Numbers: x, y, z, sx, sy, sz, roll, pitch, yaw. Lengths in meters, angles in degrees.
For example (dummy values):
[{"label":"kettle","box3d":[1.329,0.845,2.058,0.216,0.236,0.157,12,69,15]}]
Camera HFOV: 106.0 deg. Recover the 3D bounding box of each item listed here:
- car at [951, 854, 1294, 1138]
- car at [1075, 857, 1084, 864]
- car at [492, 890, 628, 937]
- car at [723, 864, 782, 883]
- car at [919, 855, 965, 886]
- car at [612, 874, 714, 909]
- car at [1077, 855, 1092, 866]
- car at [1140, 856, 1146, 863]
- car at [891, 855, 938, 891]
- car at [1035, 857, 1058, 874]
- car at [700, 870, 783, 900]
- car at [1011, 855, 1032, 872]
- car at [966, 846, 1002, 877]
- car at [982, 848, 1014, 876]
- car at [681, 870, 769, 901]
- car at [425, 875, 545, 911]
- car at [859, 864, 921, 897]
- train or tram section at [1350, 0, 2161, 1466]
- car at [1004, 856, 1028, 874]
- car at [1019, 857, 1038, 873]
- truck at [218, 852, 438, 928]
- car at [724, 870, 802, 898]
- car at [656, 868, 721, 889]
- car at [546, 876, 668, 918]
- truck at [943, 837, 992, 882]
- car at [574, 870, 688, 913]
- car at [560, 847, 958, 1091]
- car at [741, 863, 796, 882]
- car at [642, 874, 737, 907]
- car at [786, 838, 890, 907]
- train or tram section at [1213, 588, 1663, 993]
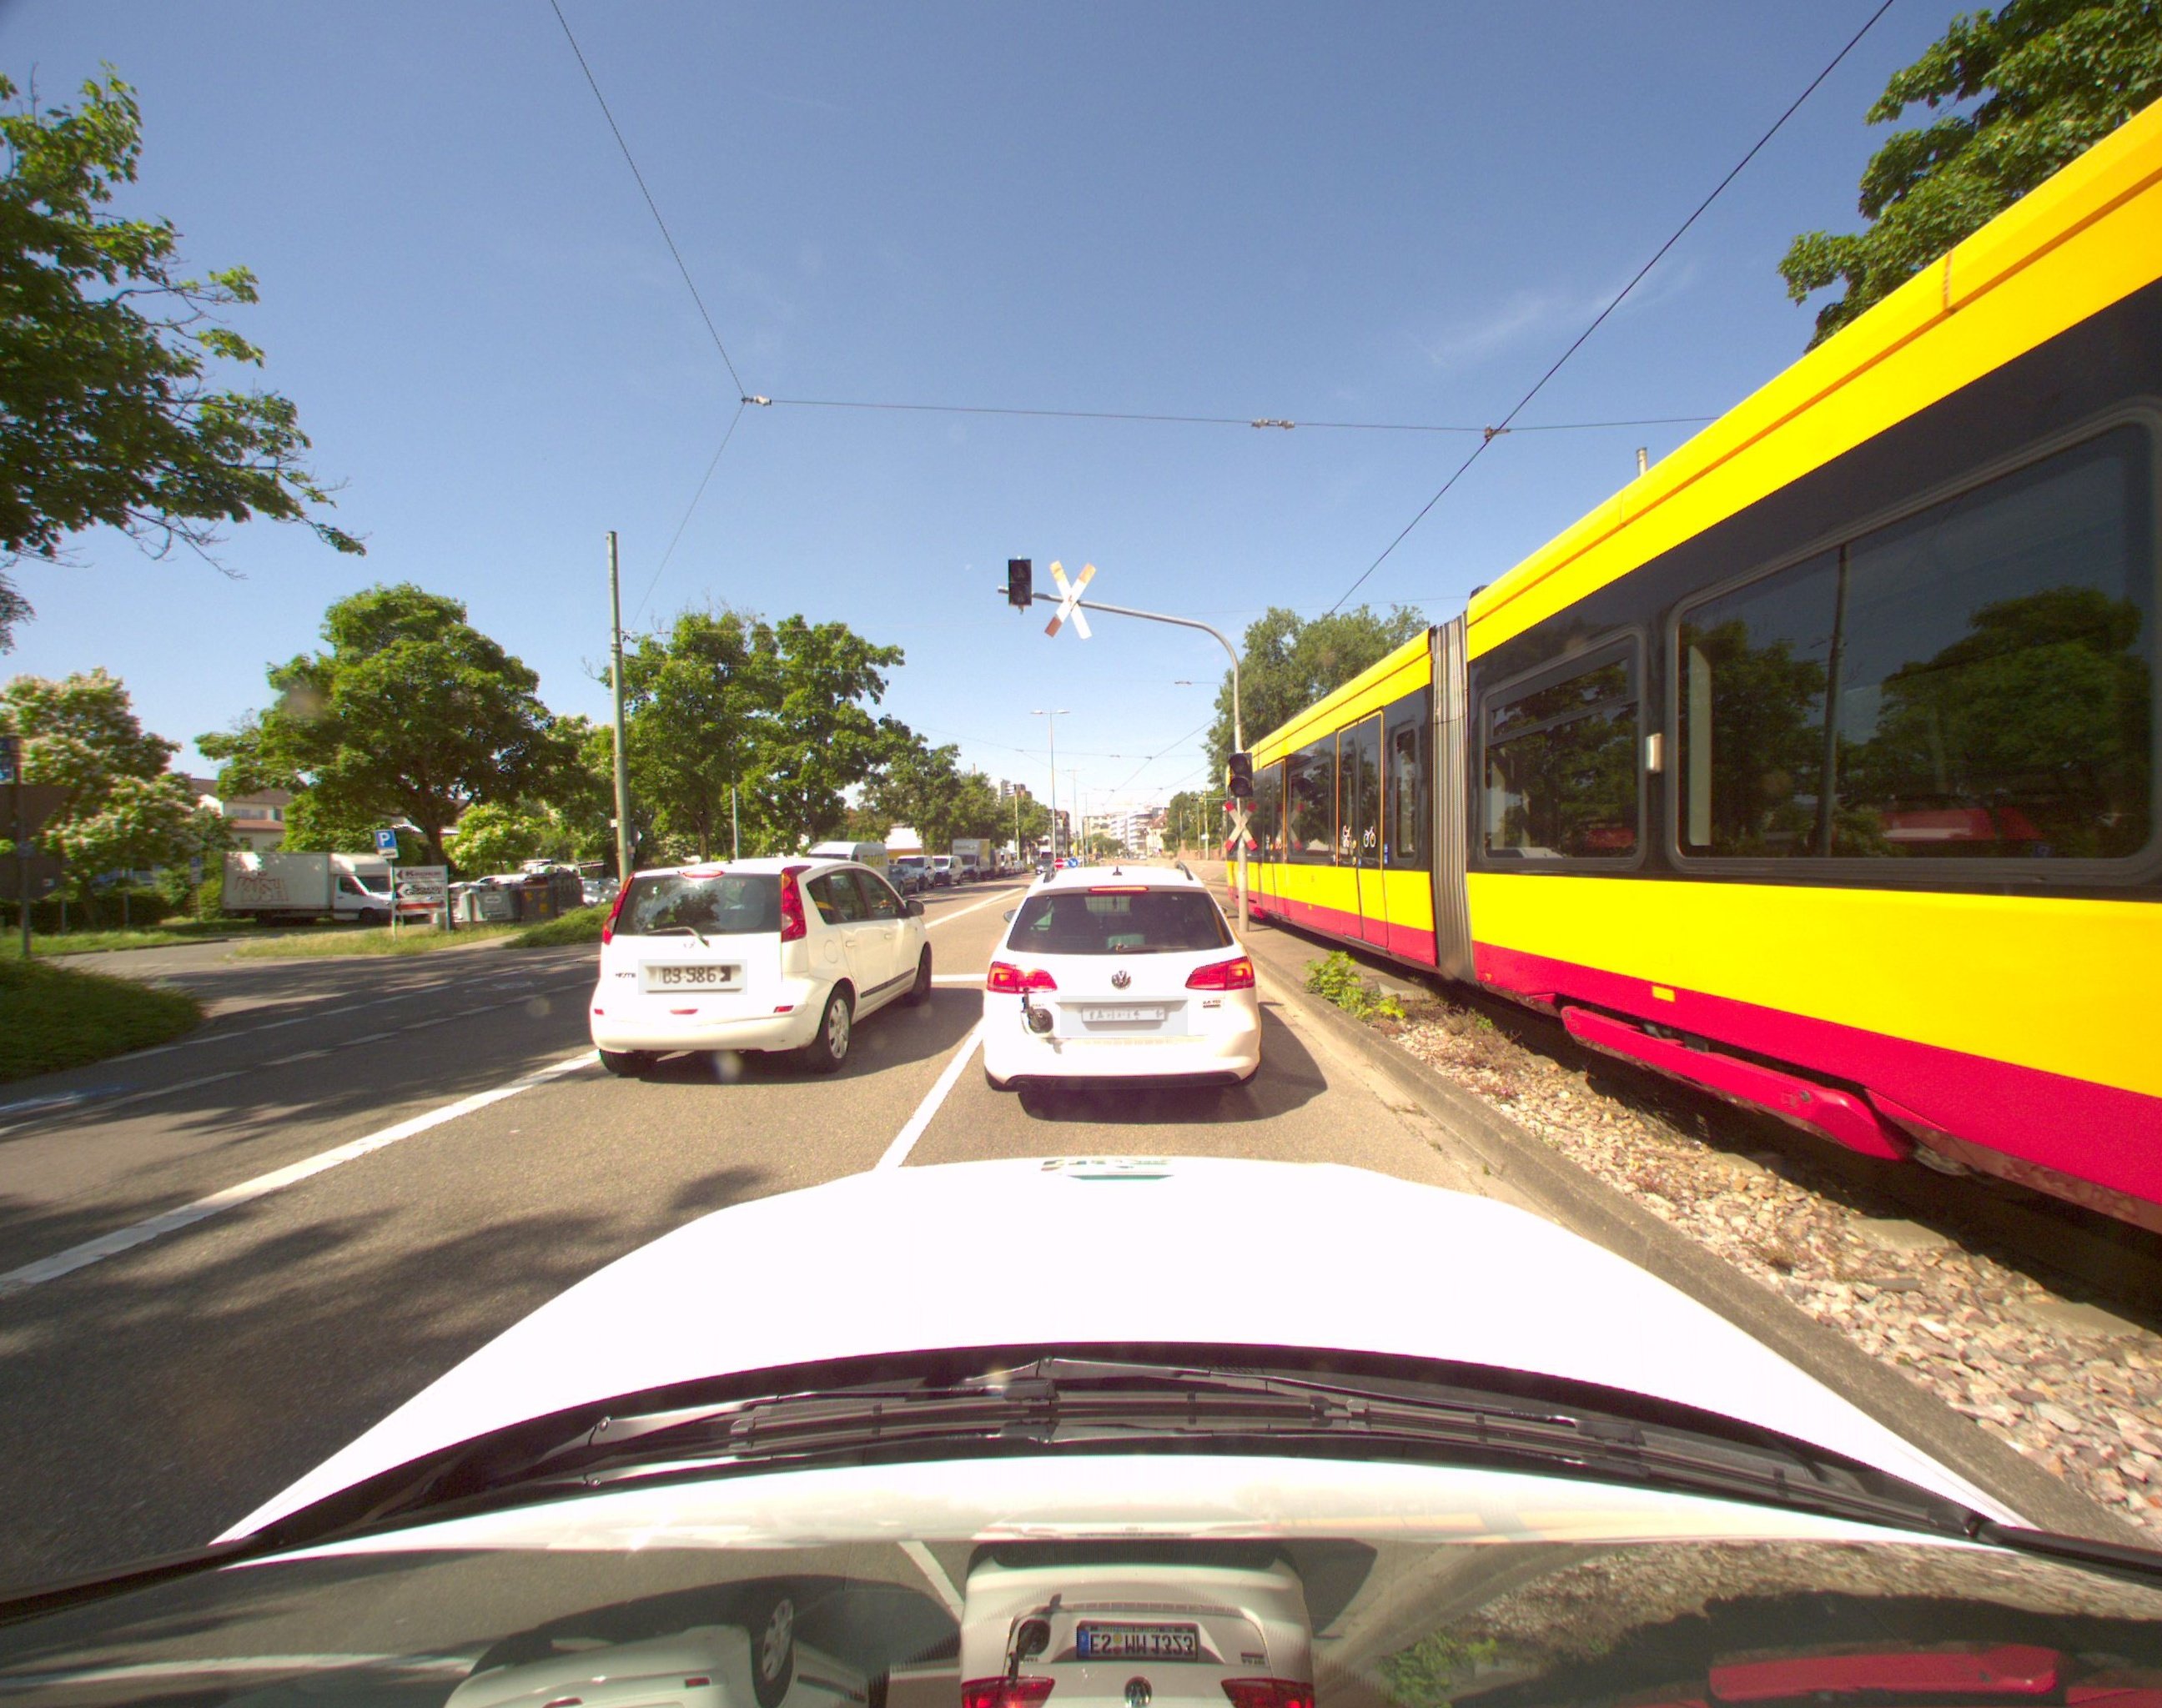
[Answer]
[{"label":"car","box3d":[0.282,0.756,6.324,1.756,1.430,4.002,-3,0,2]},{"label":"car","box3d":[-0.359,1.547,198.549,1.698,1.473,4.593,-3,0,3]},{"label":"car","box3d":[-19.873,2.237,31.175,3.977,1.415,1.729,-4,-1,-3]},{"label":"car","box3d":[-31.431,1.827,77.970,4.780,1.787,2.062,0,-1,-3]},{"label":"car","box3d":[-8.837,1.016,52.273,1.856,1.868,5.415,0,0,2]},{"label":"car","box3d":[-20.267,1.808,39.611,3.977,1.415,1.729,-4,-1,-3]},{"label":"car","box3d":[0.524,0.892,113.009,1.698,1.473,4.593,-3,0,3]},{"label":"car","box3d":[17.362,1.502,227.607,1.602,1.863,3.732,0,-1,2]},{"label":"car","box3d":[-9.251,0.995,45.686,1.859,1.868,5.068,0,0,-3]},{"label":"car","box3d":[-3.226,1.083,76.542,1.698,1.473,4.593,-3,0,3]},{"label":"car","box3d":[-19.578,1.771,47.072,3.977,1.415,1.729,-4,-1,-3]},{"label":"car","box3d":[-6.706,1.058,92.032,1.856,1.868,5.415,0,0,2]},{"label":"car","box3d":[-8.110,0.623,68.692,2.114,2.516,5.737,0,0,2]},{"label":"car","box3d":[-7.731,0.684,76.125,2.114,2.516,5.737,0,0,2]},{"label":"car","box3d":[-19.508,1.726,44.717,3.977,1.415,1.729,-4,-1,-3]},{"label":"car","box3d":[-31.736,2.051,43.482,4.780,1.787,2.062,0,-1,-3]},{"label":"car","box3d":[-9.088,1.226,39.070,1.856,1.415,4.281,0,0,1]},{"label":"train or tram section","box3d":[3.976,-0.498,1.833,2.860,3.855,12.396,-3,0,2]},{"label":"car","box3d":[-6.781,1.121,85.213,1.856,1.868,5.415,0,0,2]},{"label":"car","box3d":[-6.344,1.365,98.943,1.856,1.868,5.415,0,0,2]},{"label":"truck","box3d":[-32.398,1.481,35.219,6.978,3.110,2.677,0,0,0]},{"label":"car","box3d":[-19.430,1.826,49.888,3.977,1.415,1.729,-4,-1,-3]},{"label":"car","box3d":[-35.158,2.203,72.986,4.780,1.787,2.062,0,-1,-3]},{"label":"car","box3d":[-19.641,1.772,33.868,3.977,1.415,1.729,-4,-1,-3]},{"label":"truck","box3d":[-8.354,0.377,60.694,2.411,3.150,7.001,0,0,3]},{"label":"car","box3d":[-19.890,1.632,36.098,3.977,1.610,1.729,-4,-1,-3]},{"label":"car","box3d":[-2.436,0.747,7.551,1.655,1.547,4.550,-1,0,3]},{"label":"car","box3d":[-31.731,1.868,82.790,4.780,1.787,2.062,0,-1,-3]},{"label":"car","box3d":[-20.258,1.872,42.222,3.977,1.415,1.729,-4,-1,-3]},{"label":"car","box3d":[-9.554,0.689,32.678,2.114,2.516,5.822,0,0,3]},{"label":"train or tram section","box3d":[4.357,-0.631,13.271,2.860,3.855,10.542,-3,0,2]}]
